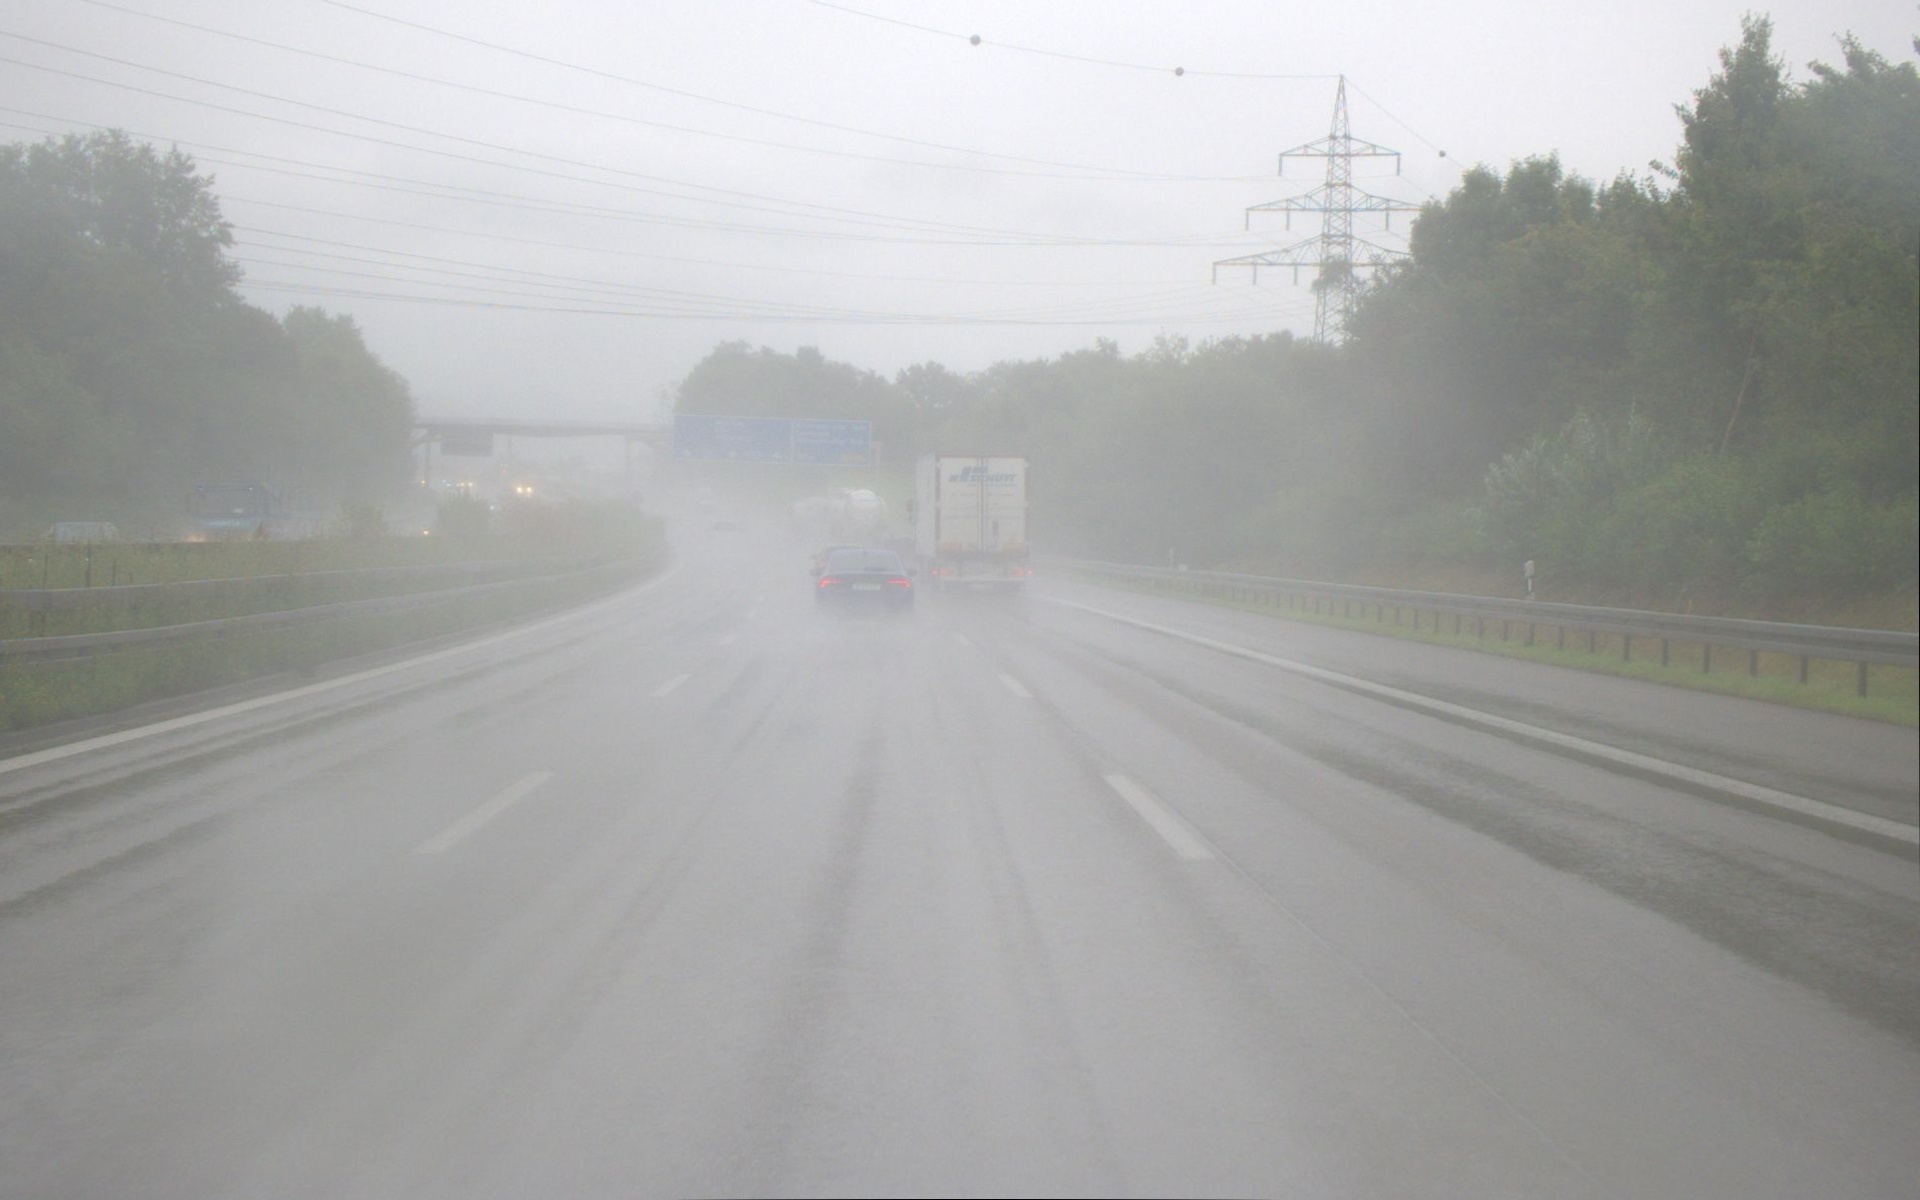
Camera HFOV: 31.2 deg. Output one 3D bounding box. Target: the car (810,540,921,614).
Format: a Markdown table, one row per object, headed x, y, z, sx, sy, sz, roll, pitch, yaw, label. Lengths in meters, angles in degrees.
| x | y | z | sx | sy | sz | roll | pitch | yaw | label |
| --- | --- | --- | --- | --- | --- | --- | --- | --- | --- |
| -1.686 | -0.438 | 62.509 | 1.749 | 1.208 | 4.000 | 3 | 1 | 1 | car |

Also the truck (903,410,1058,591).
| x | y | z | sx | sy | sz | roll | pitch | yaw | label |
| --- | --- | --- | --- | --- | --- | --- | --- | --- | --- |
| 0.551 | -2.934 | 103.338 | 4.256 | 4.955 | 17.342 | 0 | 1 | 0 | truck |

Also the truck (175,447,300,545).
| x | y | z | sx | sy | sz | roll | pitch | yaw | label |
| --- | --- | --- | --- | --- | --- | --- | --- | --- | --- |
| -26.232 | -3.771 | 125.200 | 3.068 | 3.265 | 7.392 | 4 | 1 | -2 | truck |

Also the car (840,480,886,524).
| x | y | z | sx | sy | sz | roll | pitch | yaw | label |
| --- | --- | --- | --- | --- | --- | --- | --- | --- | --- |
| -5.335 | -5.350 | 188.011 | 2.393 | 2.264 | 5.003 | 2 | 2 | -2 | car |
